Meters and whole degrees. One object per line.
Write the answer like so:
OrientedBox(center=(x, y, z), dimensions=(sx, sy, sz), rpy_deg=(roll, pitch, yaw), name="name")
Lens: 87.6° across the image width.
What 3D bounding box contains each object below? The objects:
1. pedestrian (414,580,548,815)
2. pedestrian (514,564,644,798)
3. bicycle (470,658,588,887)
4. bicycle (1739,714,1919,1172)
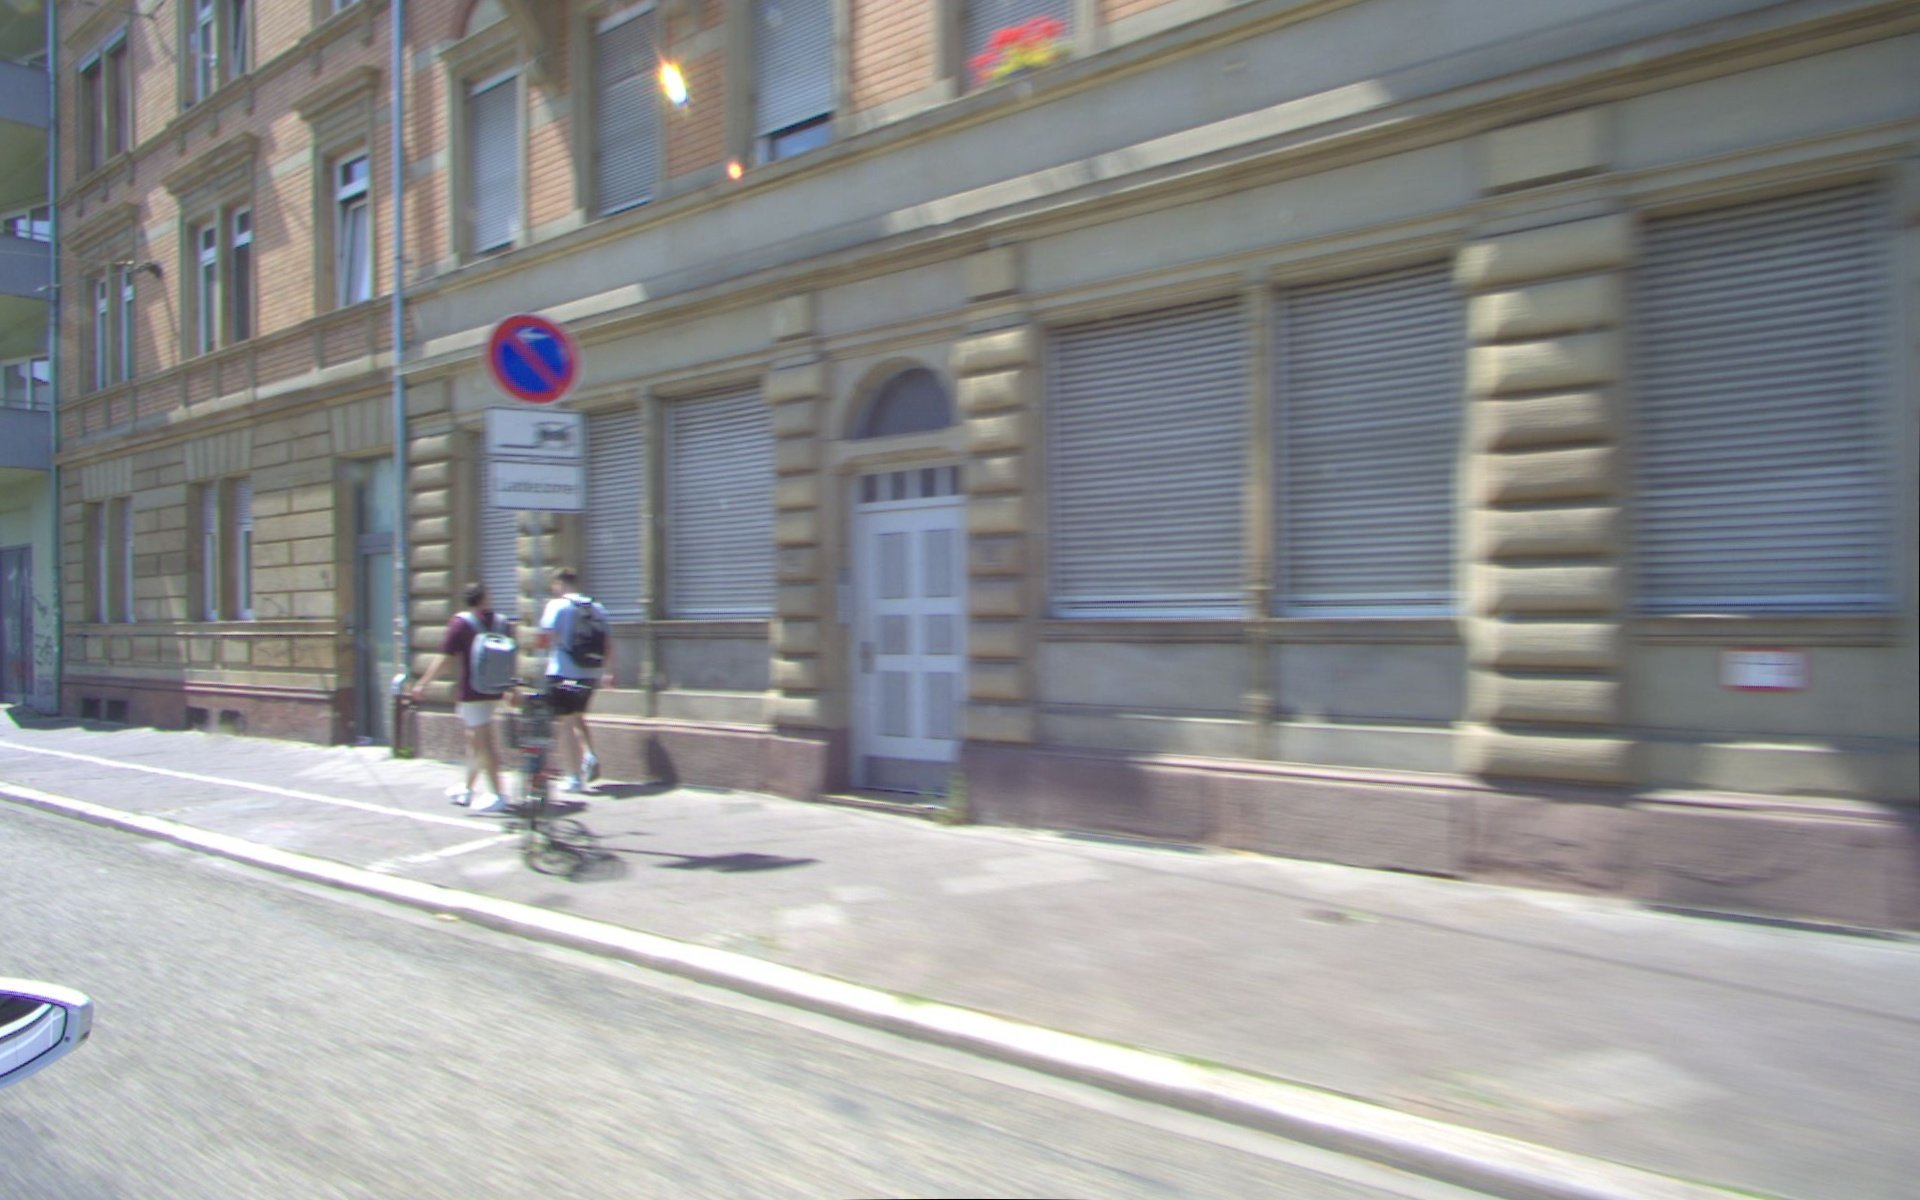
OrientedBox(center=(-3.773, 0.728, 7.902), dimensions=(0.635, 1.742, 0.718), rpy_deg=(0, 0, 33), name="pedestrian")
OrientedBox(center=(-3.239, 0.653, 8.545), dimensions=(0.635, 1.874, 0.700), rpy_deg=(0, 4, 34), name="pedestrian")
OrientedBox(center=(-2.866, 1.002, 6.547), dimensions=(0.493, 1.145, 2.232), rpy_deg=(-1, 0, -29), name="bicycle")
OrientedBox(center=(3.240, 0.895, 2.210), dimensions=(2.392, 1.111, 0.446), rpy_deg=(-1, 0, 38), name="bicycle")
